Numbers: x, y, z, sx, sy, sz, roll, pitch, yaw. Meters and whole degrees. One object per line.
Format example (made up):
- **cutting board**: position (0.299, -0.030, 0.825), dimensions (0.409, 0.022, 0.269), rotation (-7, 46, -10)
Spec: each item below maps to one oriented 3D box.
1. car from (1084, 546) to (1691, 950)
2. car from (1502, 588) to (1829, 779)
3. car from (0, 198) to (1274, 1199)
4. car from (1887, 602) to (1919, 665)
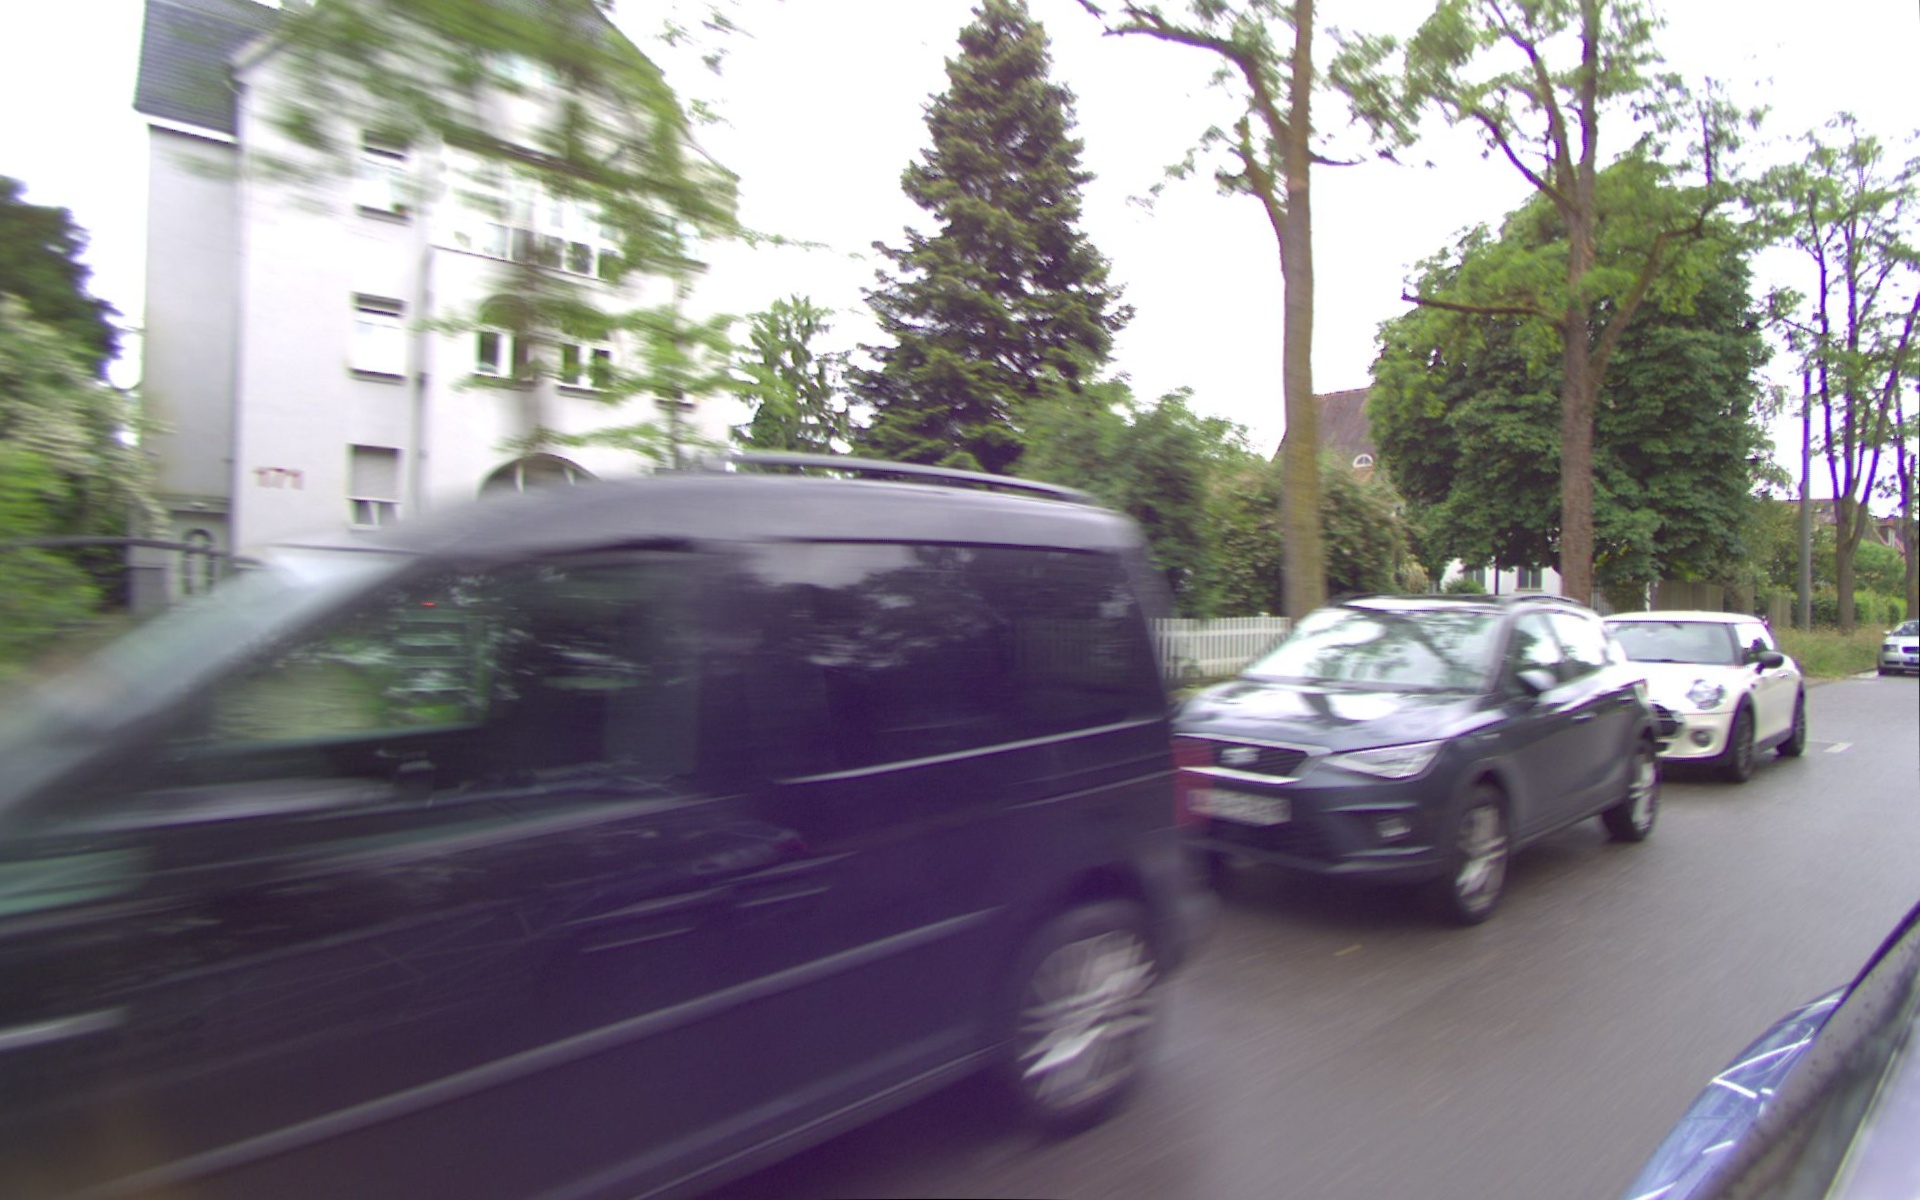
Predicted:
- **car**: position (2.697, 0.606, 5.918), dimensions (4.004, 1.575, 1.681), rotation (1, -1, -41)
- **car**: position (6.885, 0.677, 9.755), dimensions (3.659, 1.483, 1.741), rotation (1, -1, -41)
- **car**: position (-1.120, 0.429, 2.555), dimensions (4.155, 1.871, 1.733), rotation (1, -1, -41)
- **car**: position (23.168, 0.773, 23.709), dimensions (3.931, 1.413, 1.784), rotation (1, -1, -42)
